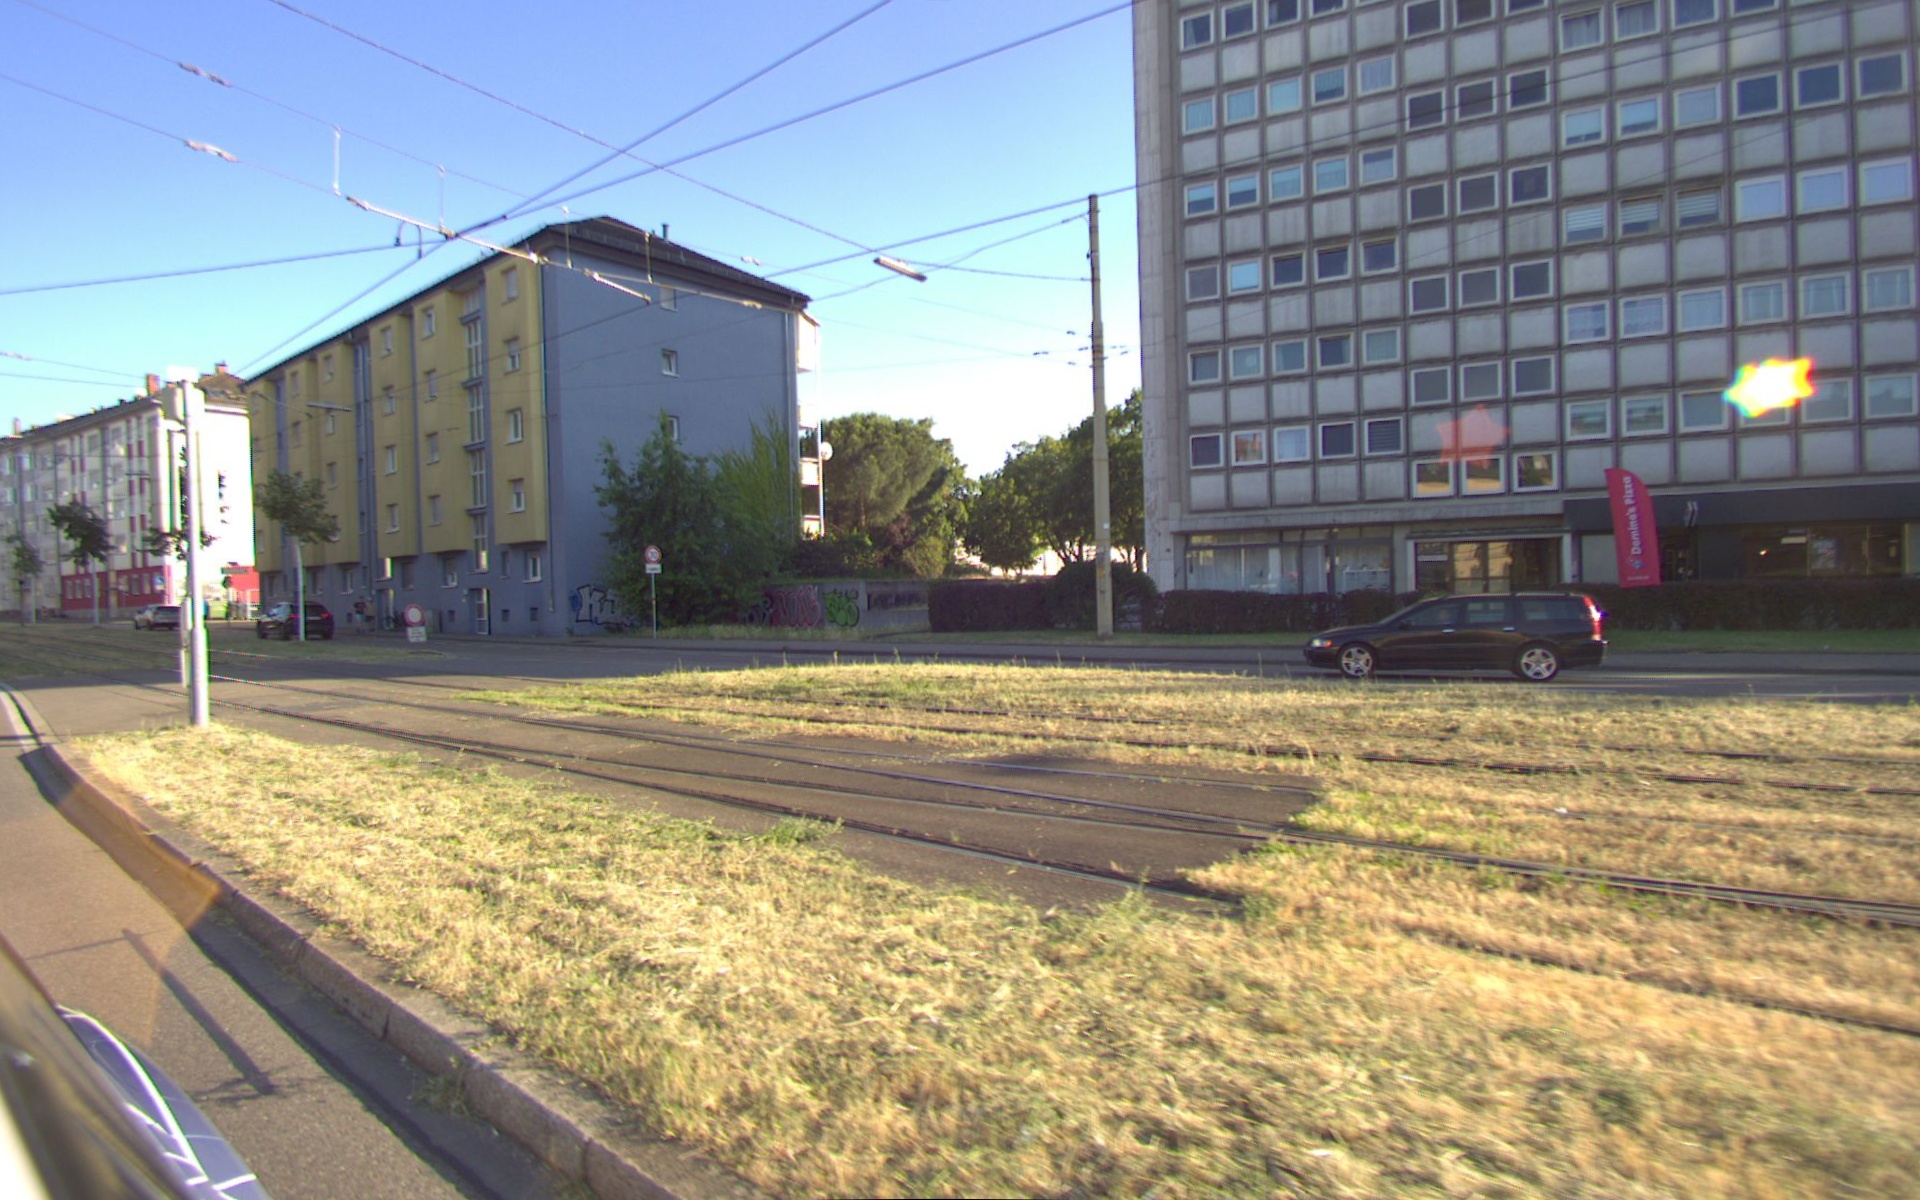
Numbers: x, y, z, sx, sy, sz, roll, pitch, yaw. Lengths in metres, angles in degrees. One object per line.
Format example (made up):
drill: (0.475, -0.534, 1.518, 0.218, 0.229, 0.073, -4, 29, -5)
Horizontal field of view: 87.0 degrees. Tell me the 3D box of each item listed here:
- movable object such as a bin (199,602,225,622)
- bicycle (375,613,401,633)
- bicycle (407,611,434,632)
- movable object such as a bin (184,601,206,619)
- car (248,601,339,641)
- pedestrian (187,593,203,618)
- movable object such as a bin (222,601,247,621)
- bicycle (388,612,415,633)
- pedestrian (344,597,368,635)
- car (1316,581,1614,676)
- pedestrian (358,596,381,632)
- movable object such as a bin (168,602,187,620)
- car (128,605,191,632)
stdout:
movable object such as a bin: (-55.496, 0.854, 75.068, 1.135, 1.426, 1.207, -1, 1, 34)
bicycle: (-27.840, 1.113, 49.245, 1.910, 0.932, 0.423, -1, 4, 40)
bicycle: (-25.290, 1.010, 47.397, 1.910, 0.967, 0.423, -1, 1, 40)
movable object such as a bin: (-57.177, 0.720, 75.639, 0.804, 1.296, 1.149, -1, 1, 34)
car: (-29.441, 0.920, 44.664, 4.701, 1.674, 1.900, -2, -1, 37)
pedestrian: (-53.378, 0.372, 70.633, 0.789, 1.702, 0.608, -1, 1, 33)
movable object such as a bin: (-54.695, 0.829, 76.284, 1.105, 1.426, 1.207, -1, 1, 34)
bicycle: (-26.814, 1.084, 48.588, 1.910, 0.932, 0.423, -1, 4, 40)
pedestrian: (-29.342, 0.759, 49.143, 0.884, 1.786, 0.587, -1, 5, 38)
car: (8.575, 0.509, 17.567, 4.373, 1.493, 1.767, -1, -2, 24)
pedestrian: (-29.094, 0.713, 49.897, 0.705, 1.706, 0.611, -1, 5, 38)
movable object such as a bin: (-57.734, 0.807, 74.690, 0.804, 1.235, 0.859, -1, 1, 34)
car: (-45.134, 1.001, 57.043, 4.307, 1.471, 1.682, 0, -1, 36)
